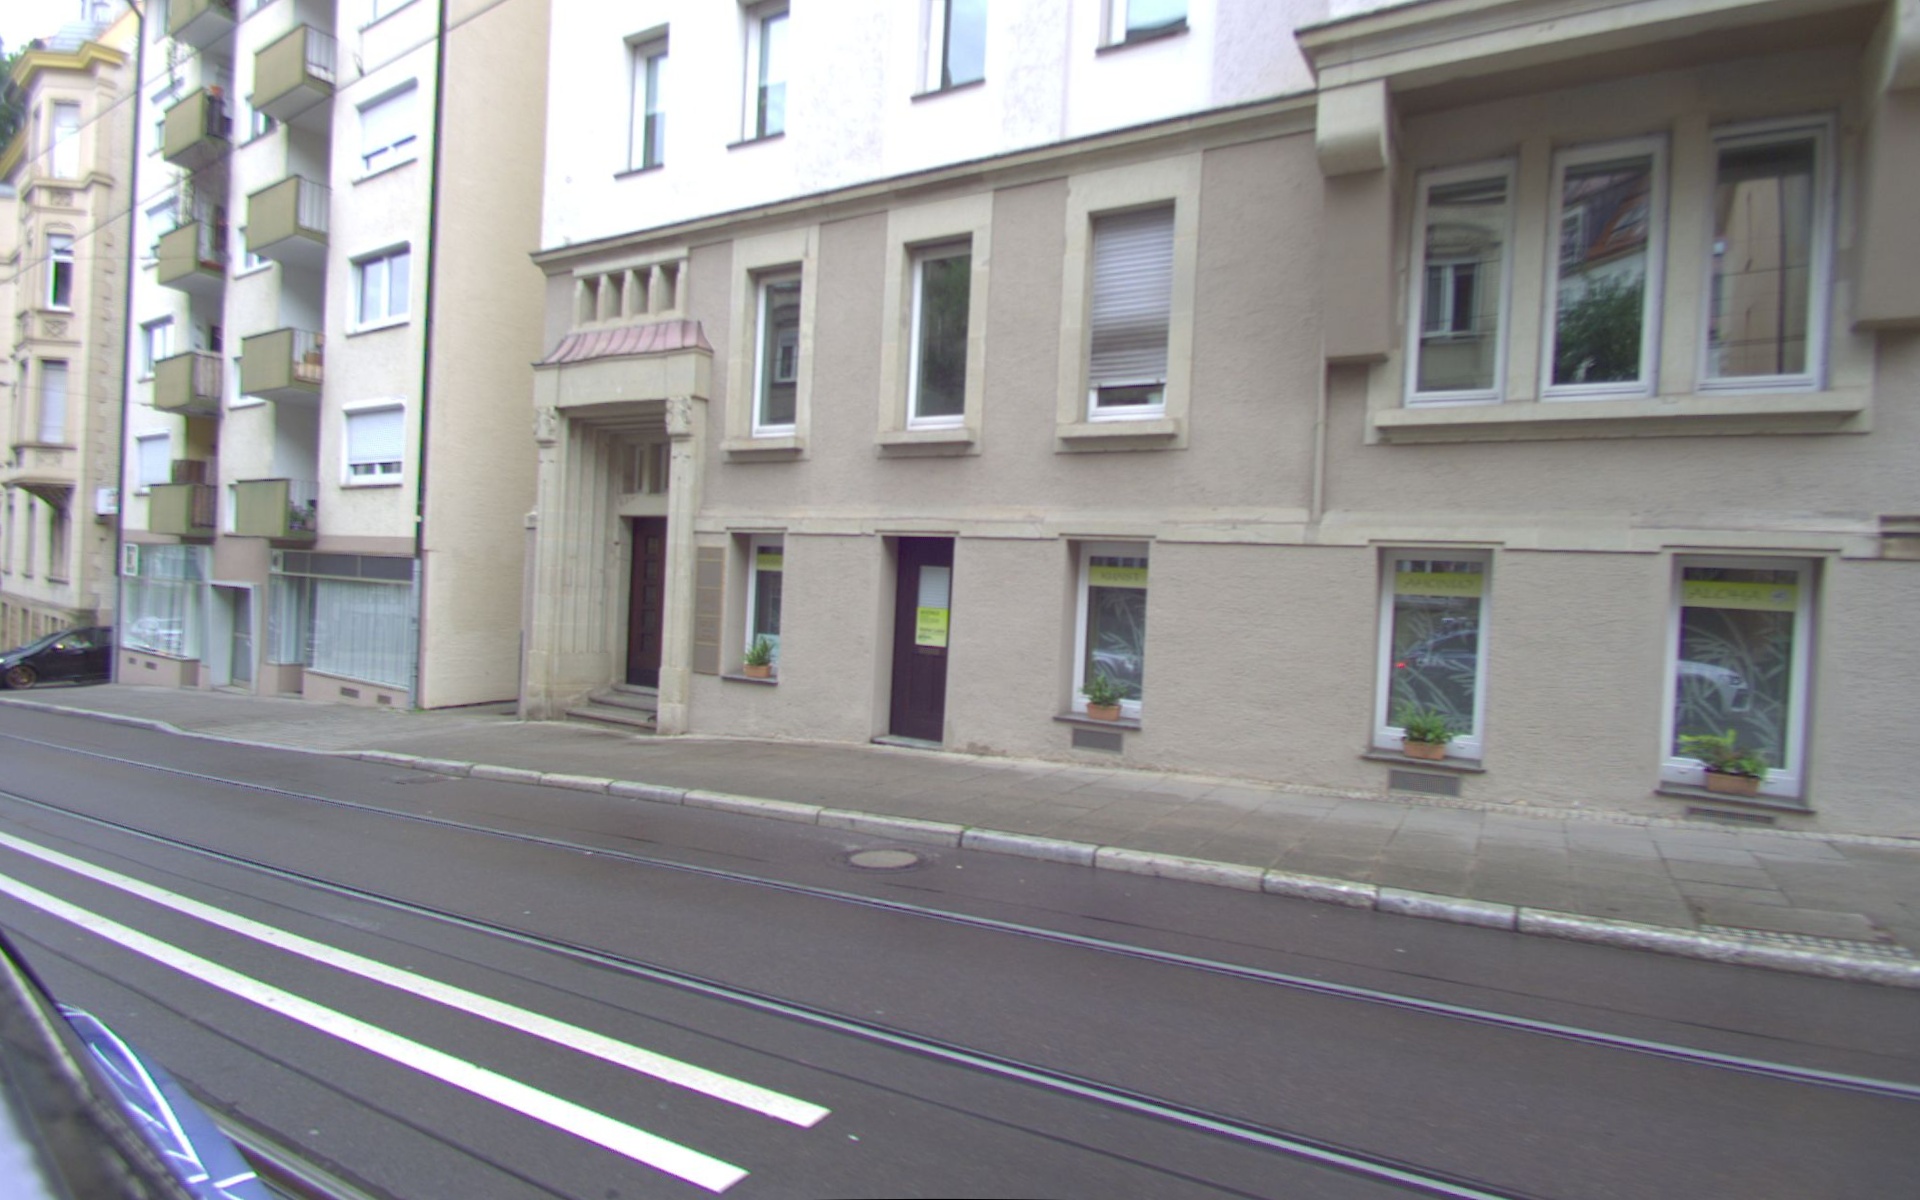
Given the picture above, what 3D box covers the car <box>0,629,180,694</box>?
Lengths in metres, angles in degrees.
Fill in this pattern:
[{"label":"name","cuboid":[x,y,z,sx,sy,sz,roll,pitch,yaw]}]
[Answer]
[{"label":"car","cuboid":[-22.000,1.481,25.057,1.737,1.465,3.951,-1,-2,36]}]
